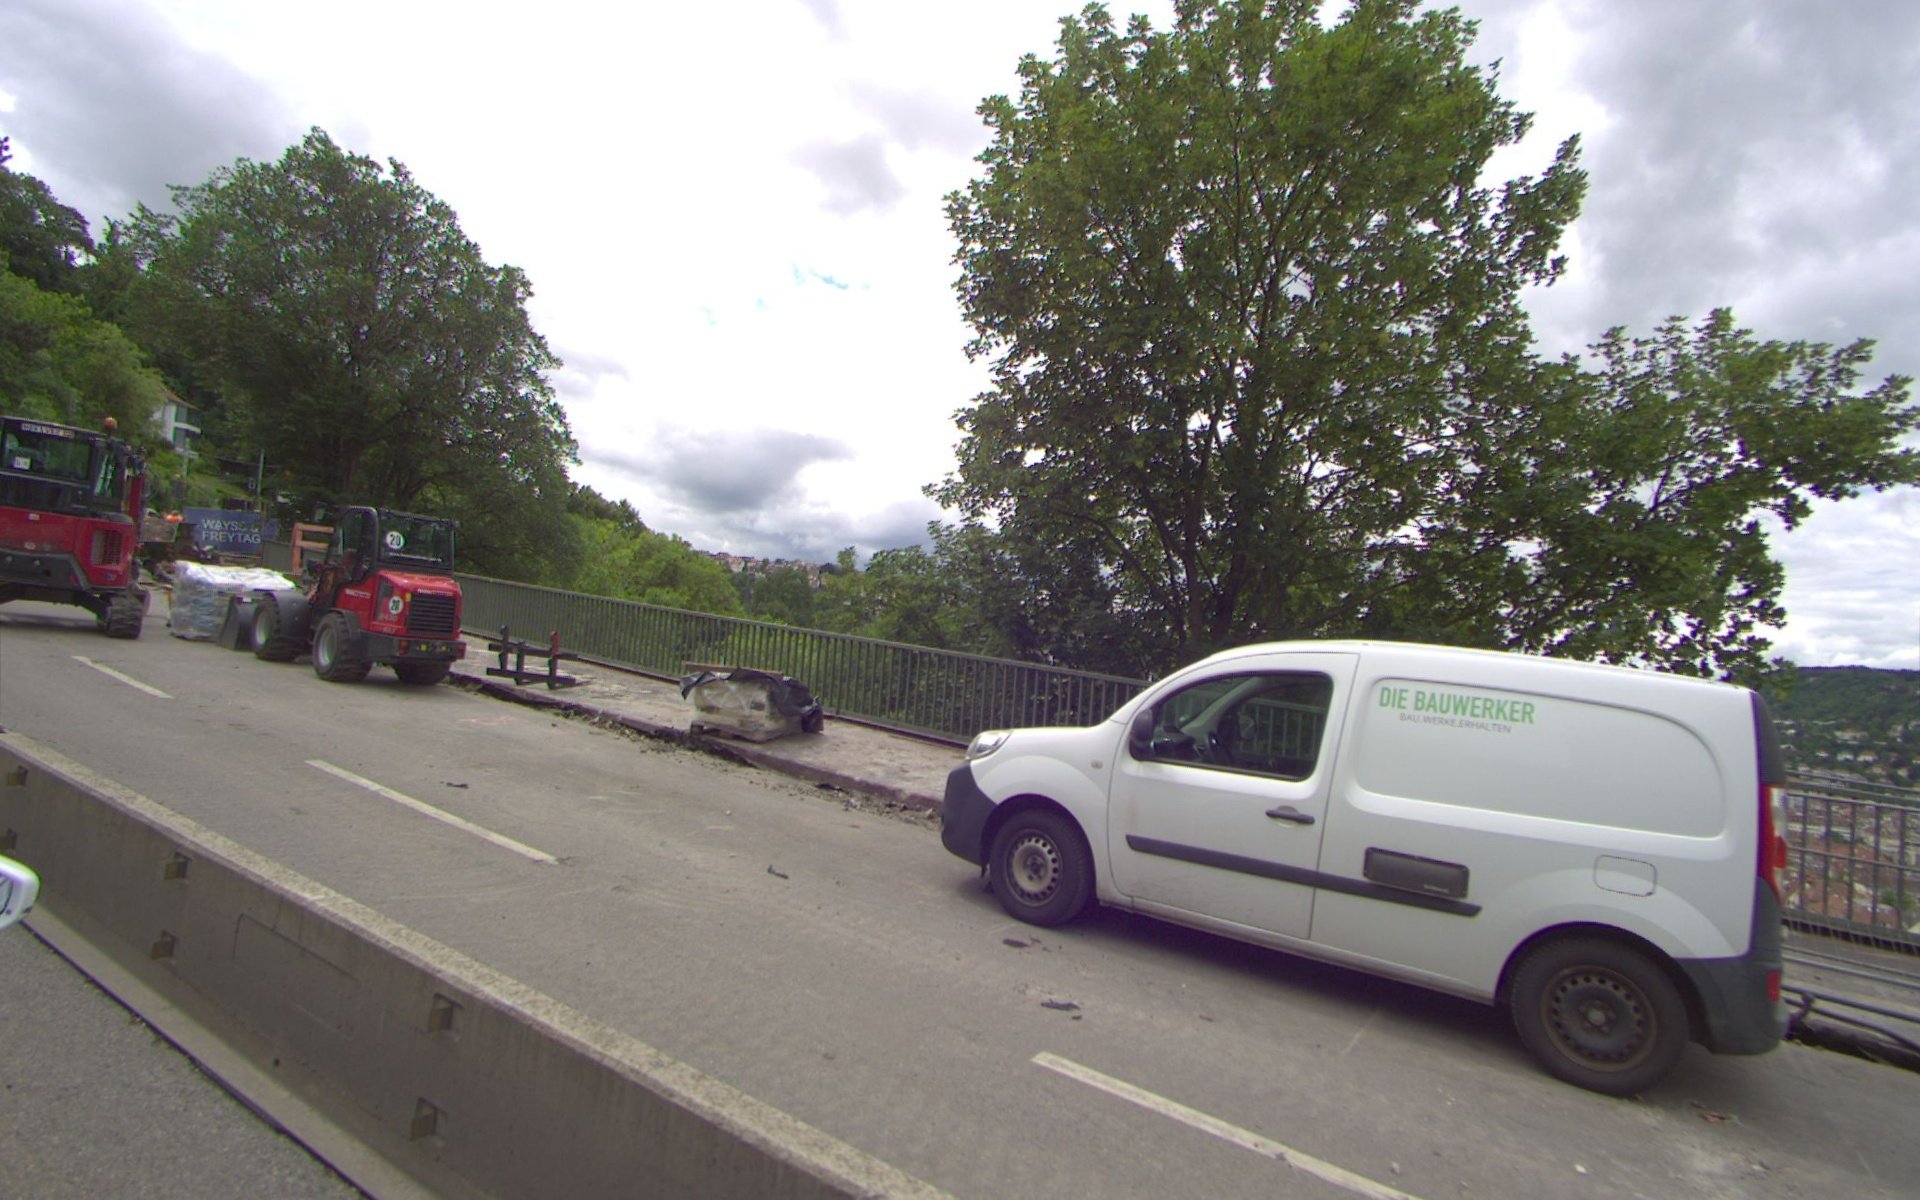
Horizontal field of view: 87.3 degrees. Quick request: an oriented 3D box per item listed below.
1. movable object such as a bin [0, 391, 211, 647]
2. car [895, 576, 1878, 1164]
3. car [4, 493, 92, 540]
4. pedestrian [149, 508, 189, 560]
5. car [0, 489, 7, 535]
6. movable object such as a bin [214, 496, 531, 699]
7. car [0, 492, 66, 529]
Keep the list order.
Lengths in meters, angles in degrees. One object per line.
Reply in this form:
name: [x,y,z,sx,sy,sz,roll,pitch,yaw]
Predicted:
movable object such as a bin: [-11.982,-1.072,13.476,4.881,2.694,2.207,6,-2,45]
car: [1.967,1.052,5.594,4.198,1.800,1.836,7,-1,32]
car: [-40.945,-3.706,45.260,1.794,1.683,3.974,7,0,-26]
pedestrian: [-27.995,-2.328,35.624,0.775,1.708,0.781,7,0,-24]
car: [-35.934,-3.311,35.822,1.795,1.683,3.971,7,0,-29]
movable object such as a bin: [-7.371,-0.080,12.484,4.100,1.965,1.703,7,-1,36]
car: [-48.357,-4.648,52.000,1.751,1.451,4.286,9,-2,-23]
